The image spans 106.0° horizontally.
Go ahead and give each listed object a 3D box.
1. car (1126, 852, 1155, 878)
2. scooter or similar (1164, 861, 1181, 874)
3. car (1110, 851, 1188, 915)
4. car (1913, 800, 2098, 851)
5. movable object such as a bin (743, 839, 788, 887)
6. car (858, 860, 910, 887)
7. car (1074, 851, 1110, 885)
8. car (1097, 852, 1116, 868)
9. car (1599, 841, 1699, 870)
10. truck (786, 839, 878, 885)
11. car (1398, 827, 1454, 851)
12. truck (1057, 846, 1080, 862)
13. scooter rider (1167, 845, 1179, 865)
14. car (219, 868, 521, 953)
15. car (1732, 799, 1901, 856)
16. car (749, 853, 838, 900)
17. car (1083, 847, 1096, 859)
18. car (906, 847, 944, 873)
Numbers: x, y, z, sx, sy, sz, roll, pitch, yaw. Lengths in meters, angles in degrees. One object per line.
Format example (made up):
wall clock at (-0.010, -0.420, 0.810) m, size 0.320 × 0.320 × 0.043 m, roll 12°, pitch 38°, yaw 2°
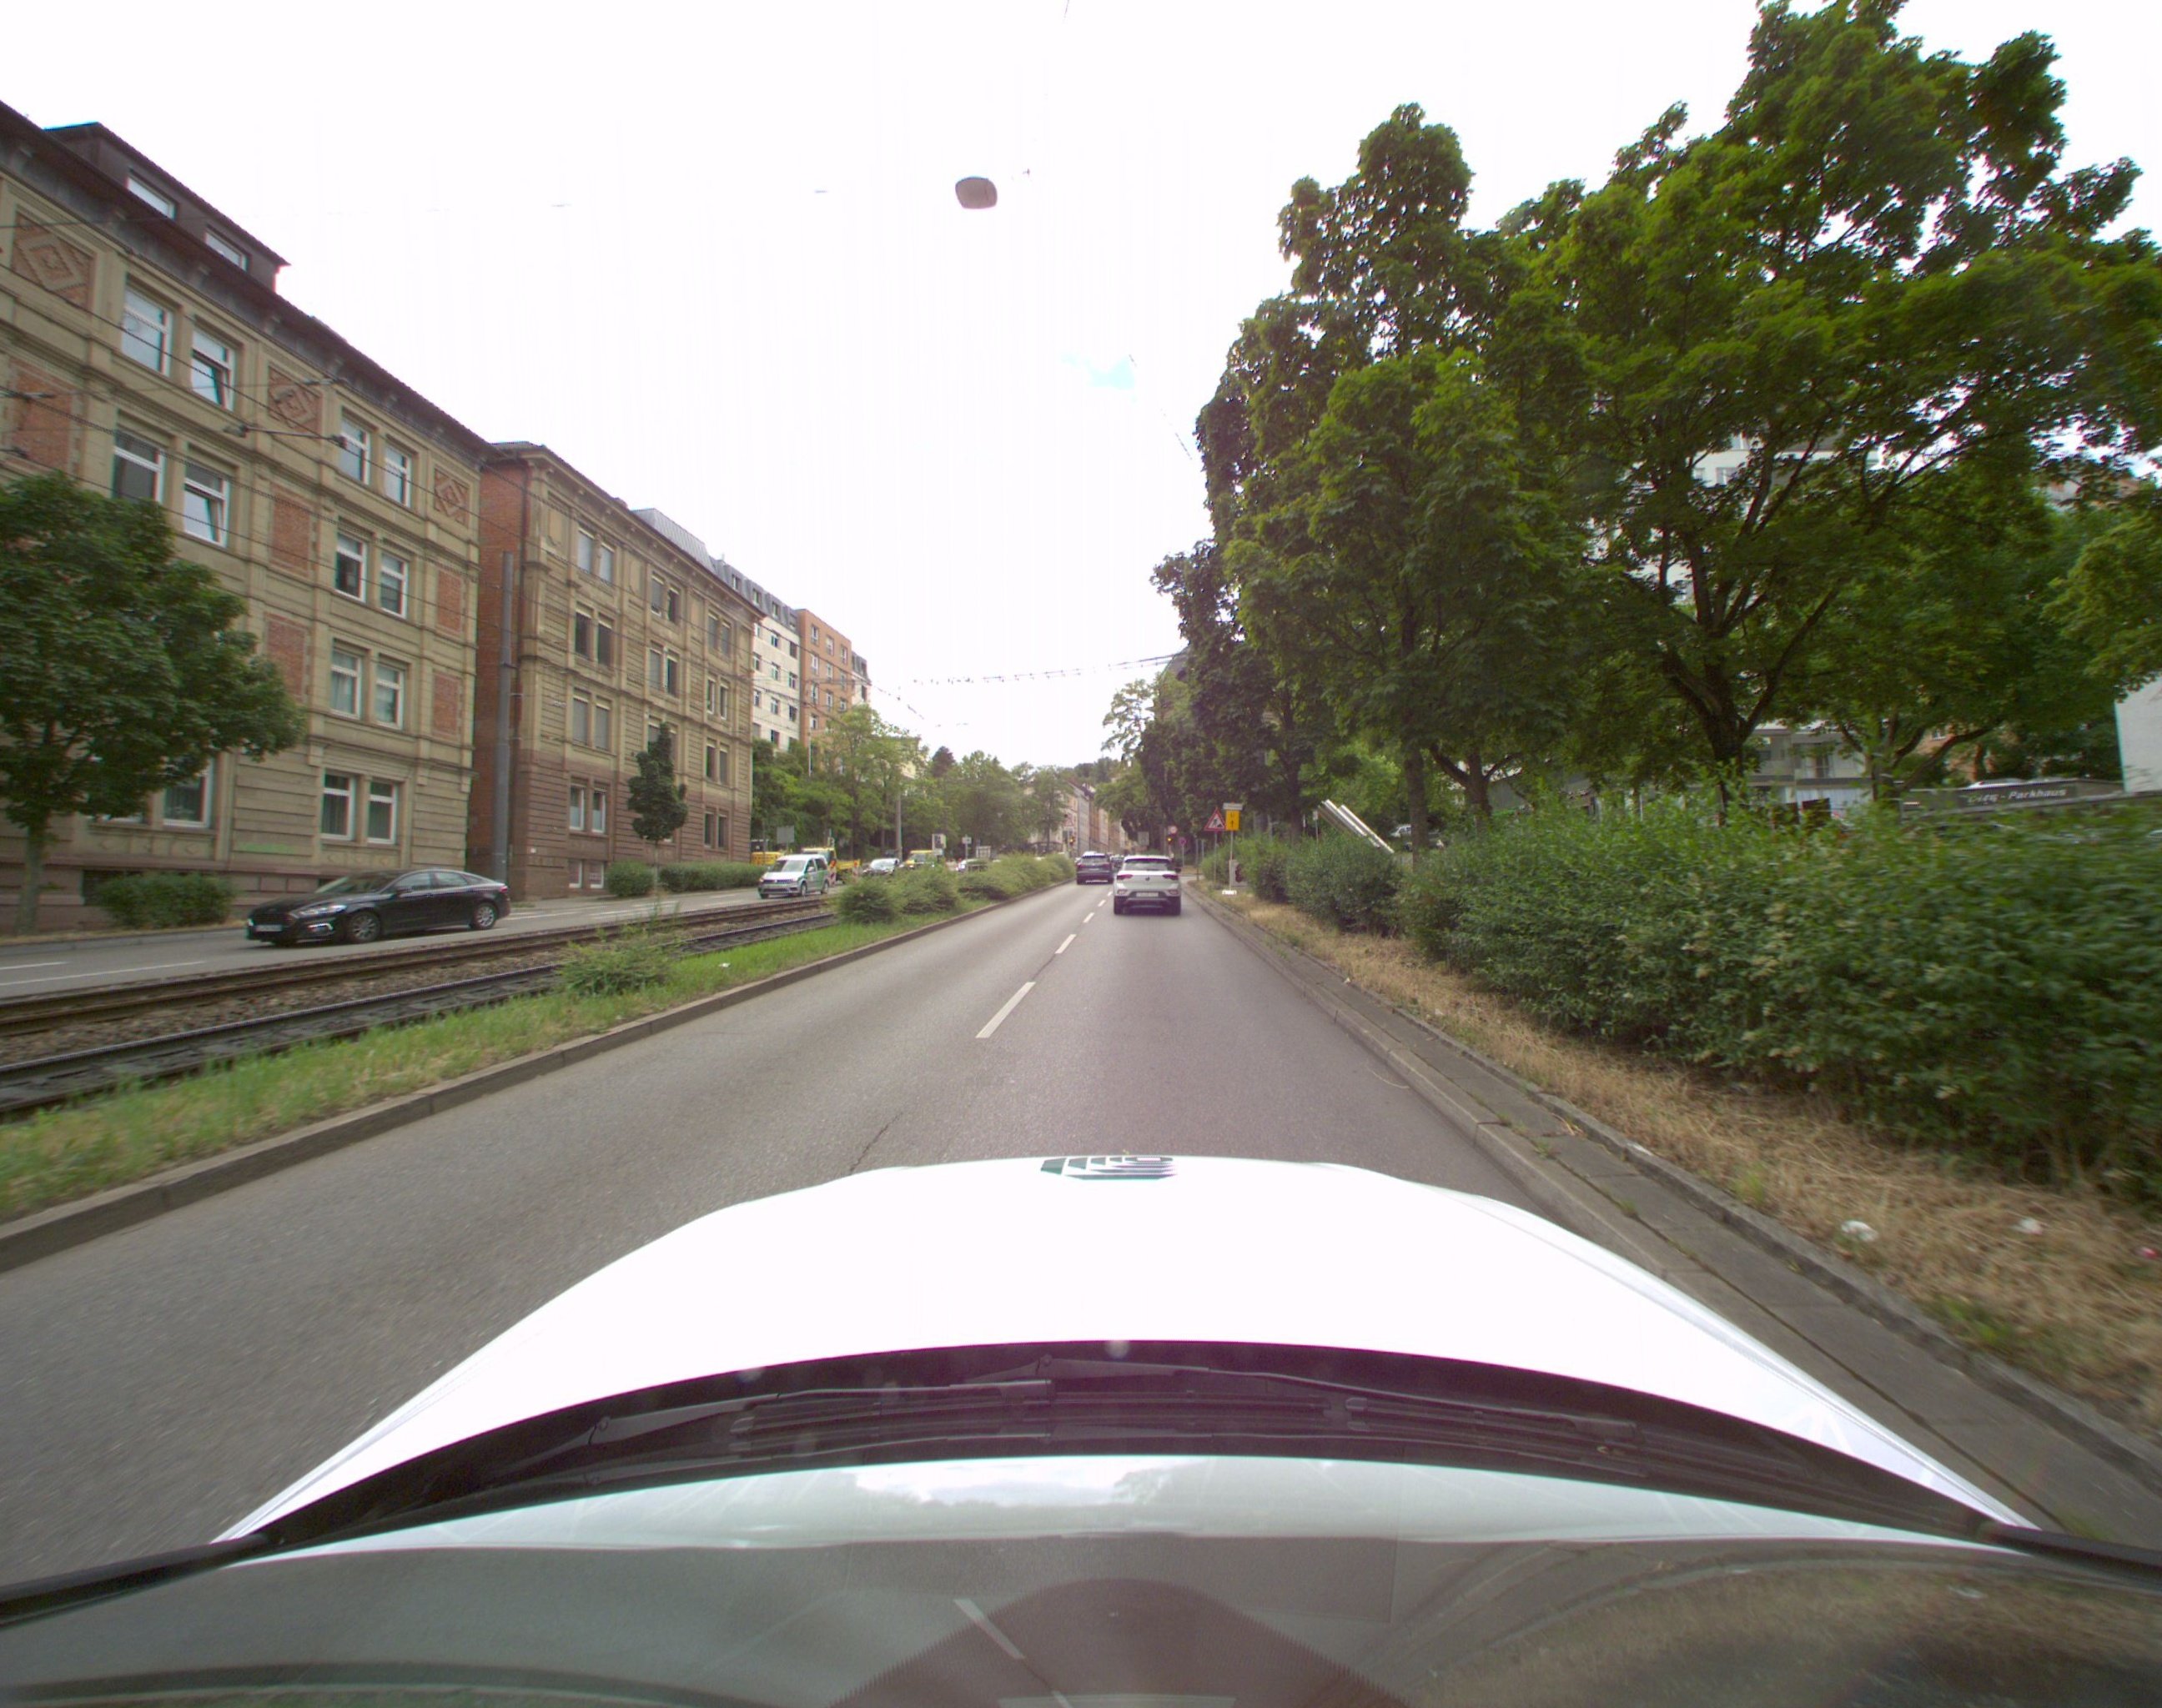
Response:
car at (4.385, 0.863, 60.122) m, size 1.985 × 1.623 × 4.002 m, roll -2°, pitch -4°, yaw 3°
scooter or similar at (7.098, 1.052, 62.970) m, size 1.188 × 0.994 × 0.529 m, roll -2°, pitch -1°, yaw -12°
car at (1.793, 0.762, 22.632) m, size 1.931 × 1.566 × 4.047 m, roll 1°, pitch -1°, yaw 2°
car at (33.514, -0.961, 29.677) m, size 1.755 × 1.508 × 4.115 m, roll 3°, pitch -3°, yaw -25°
movable object such as a bin at (-19.557, 0.561, 50.580) m, size 1.988 × 2.838 × 2.028 m, roll -1°, pitch -1°, yaw -1°
car at (-11.721, 1.178, 48.743) m, size 1.857 × 1.555 × 4.441 m, roll 0°, pitch -1°, yaw 3°
car at (0.665, 0.728, 44.719) m, size 1.832 × 1.739 × 4.003 m, roll -1°, pitch 1°, yaw 2°
car at (3.967, 0.915, 123.489) m, size 2.410 × 2.169 × 6.042 m, roll 3°, pitch 1°, yaw 5°
car at (28.406, 0.091, 40.847) m, size 1.621 × 1.279 × 3.892 m, roll 3°, pitch -3°, yaw -23°
truck at (-15.212, 0.569, 50.499) m, size 2.904 × 2.510 × 7.161 m, roll 1°, pitch -3°, yaw 5°
car at (31.161, -1.325, 73.617) m, size 4.120 × 2.014 × 1.998 m, roll -2°, pitch -1°, yaw -3°
truck at (-1.903, -0.074, 124.221) m, size 2.407 × 2.169 × 6.050 m, roll 1°, pitch 2°, yaw 9°
scooter rider at (7.123, 0.067, 62.987) m, size 0.778 × 1.558 × 0.530 m, roll -2°, pitch -1°, yaw -12°
car at (-14.684, 1.075, 17.326) m, size 1.810 × 1.450 × 4.952 m, roll -1°, pitch 0°, yaw 5°
car at (31.212, -1.044, 34.763) m, size 2.031 × 2.029 × 4.942 m, roll 3°, pitch -3°, yaw -24°
car at (-12.088, 0.912, 34.619) m, size 1.871 × 1.788 × 4.521 m, roll -3°, pitch -1°, yaw 3°
car at (1.534, -0.208, 148.348) m, size 1.984 × 2.014 × 4.005 m, roll -2°, pitch -1°, yaw 5°
car at (-11.657, 0.490, 61.127) m, size 1.893 × 1.876 × 4.642 m, roll 1°, pitch -1°, yaw 1°
